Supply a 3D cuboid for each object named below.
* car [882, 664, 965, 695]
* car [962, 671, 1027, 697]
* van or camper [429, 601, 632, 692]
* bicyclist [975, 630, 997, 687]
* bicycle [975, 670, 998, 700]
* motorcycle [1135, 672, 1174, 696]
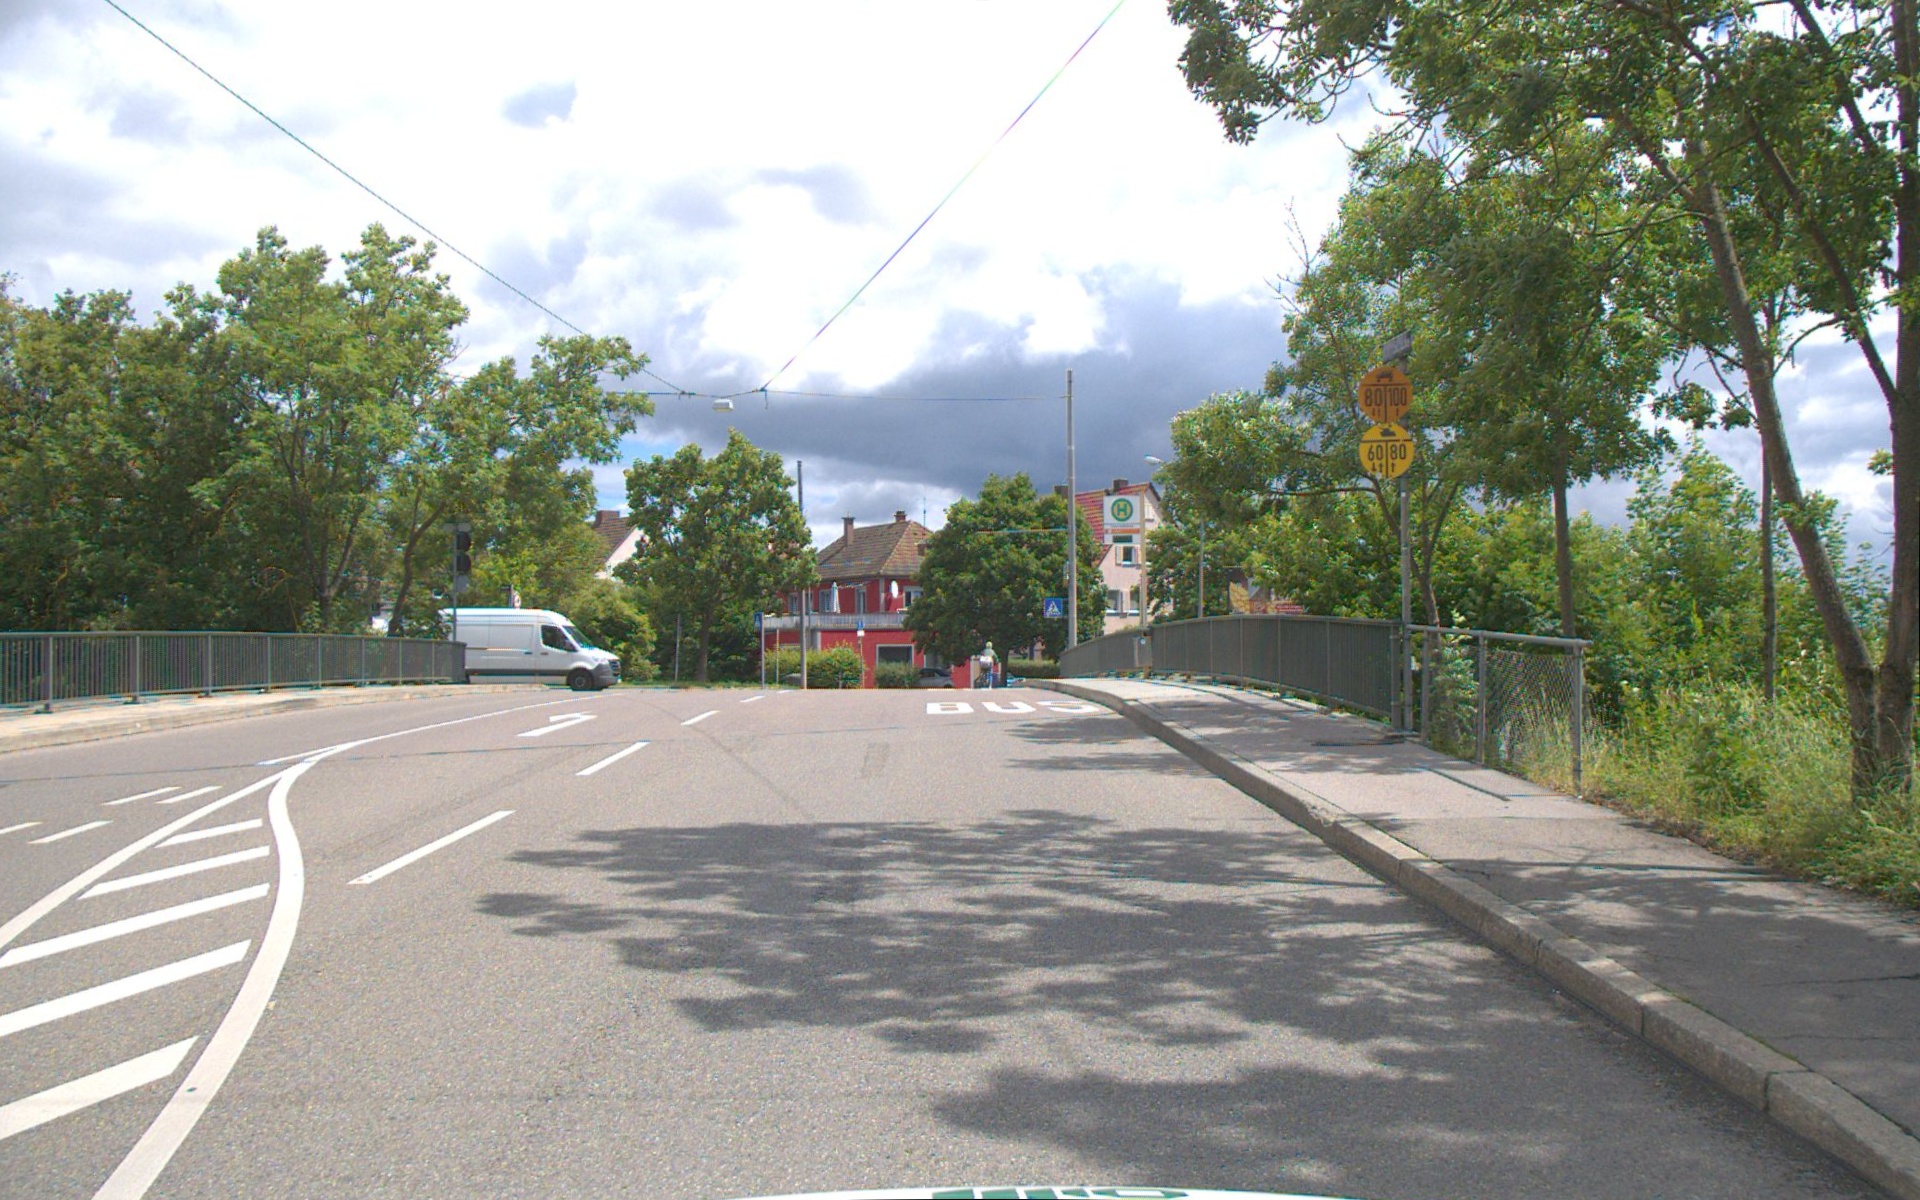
[{"bbox_3d":[-1.855,4.059,84.391,4.029,1.451,1.626,3,-3,-34],"label":"car"},{"bbox_3d":[1.882,4.638,90.996,1.820,1.402,3.770,3,-5,-32],"label":"car"},{"bbox_3d":[-13.469,1.485,52.128,5.787,2.612,2.193,-2,-4,1],"label":"van or camper"},{"bbox_3d":[0.894,1.983,56.033,0.670,1.858,1.081,0,-6,4],"label":"bicyclist"},{"bbox_3d":[0.906,2.883,56.085,0.673,0.894,2.102,0,-6,4],"label":"bicycle"},{"bbox_3d":[11.368,4.912,96.645,2.210,1.339,0.909,4,-4,-35],"label":"motorcycle"}]
